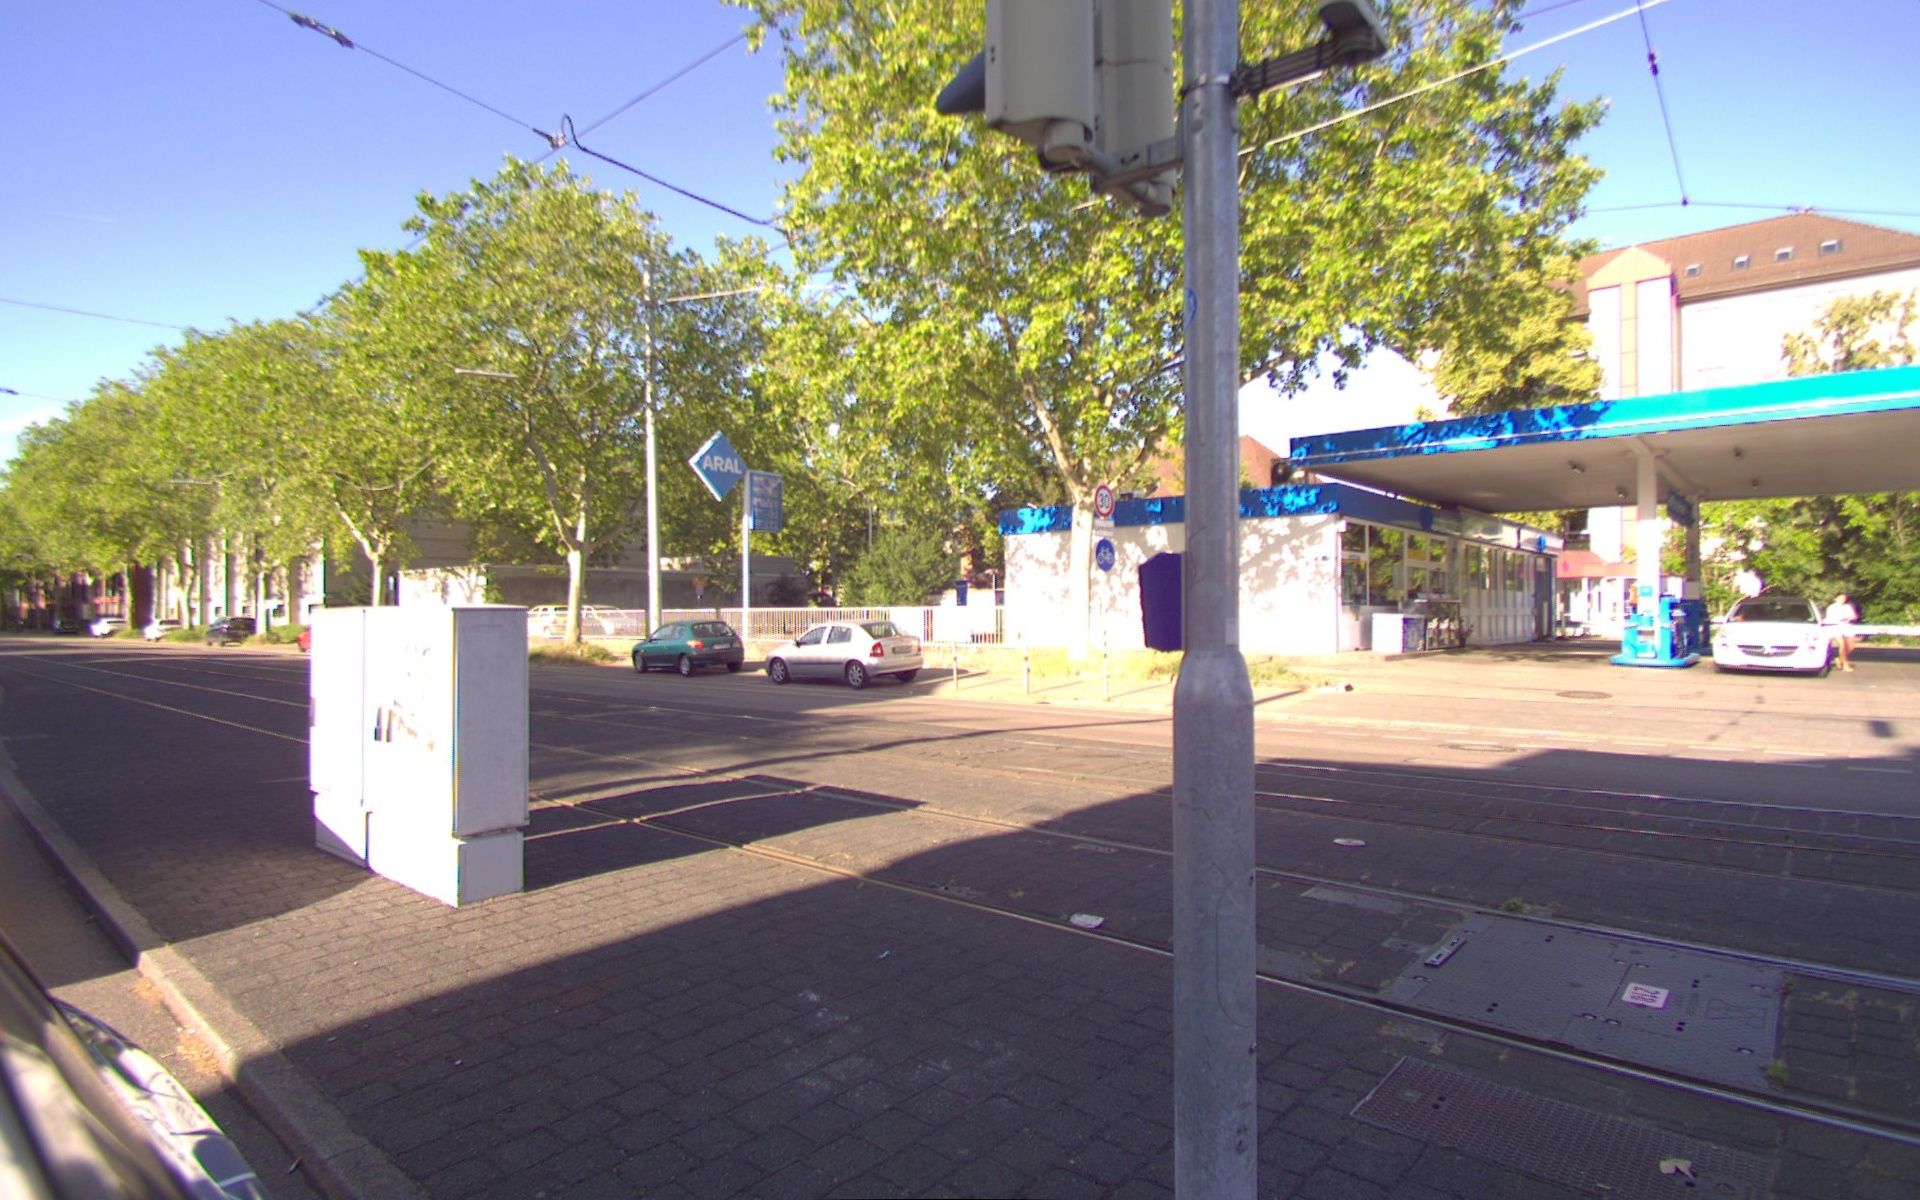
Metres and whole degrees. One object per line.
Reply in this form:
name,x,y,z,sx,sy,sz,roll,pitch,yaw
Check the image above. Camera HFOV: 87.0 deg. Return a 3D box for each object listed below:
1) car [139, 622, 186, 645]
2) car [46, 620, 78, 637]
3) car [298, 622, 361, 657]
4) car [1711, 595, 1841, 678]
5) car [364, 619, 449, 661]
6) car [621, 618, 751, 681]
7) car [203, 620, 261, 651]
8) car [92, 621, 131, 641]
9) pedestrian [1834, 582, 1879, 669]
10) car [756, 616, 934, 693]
car,-53.723,2.257,68.178,3.998,1.509,1.779,-1,-1,41
car,-85.325,2.720,96.134,3.998,1.525,1.779,-1,-1,41
car,-28.560,1.744,45.812,3.045,1.519,1.620,-1,-1,41
car,16.021,0.673,19.917,1.812,1.453,3.947,-1,-1,39
car,-21.946,1.545,40.064,3.652,1.541,1.802,-1,-1,41
car,-7.334,1.272,26.943,3.519,1.475,1.670,-1,2,43
car,-40.758,1.945,56.604,3.998,1.674,1.779,-1,-1,41
car,-66.686,2.391,79.545,3.998,1.525,1.779,-1,-1,41
pedestrian,17.912,0.502,20.226,0.586,1.705,0.751,-1,-2,38
car,-2.636,1.154,22.673,3.965,1.475,1.771,-1,2,43
